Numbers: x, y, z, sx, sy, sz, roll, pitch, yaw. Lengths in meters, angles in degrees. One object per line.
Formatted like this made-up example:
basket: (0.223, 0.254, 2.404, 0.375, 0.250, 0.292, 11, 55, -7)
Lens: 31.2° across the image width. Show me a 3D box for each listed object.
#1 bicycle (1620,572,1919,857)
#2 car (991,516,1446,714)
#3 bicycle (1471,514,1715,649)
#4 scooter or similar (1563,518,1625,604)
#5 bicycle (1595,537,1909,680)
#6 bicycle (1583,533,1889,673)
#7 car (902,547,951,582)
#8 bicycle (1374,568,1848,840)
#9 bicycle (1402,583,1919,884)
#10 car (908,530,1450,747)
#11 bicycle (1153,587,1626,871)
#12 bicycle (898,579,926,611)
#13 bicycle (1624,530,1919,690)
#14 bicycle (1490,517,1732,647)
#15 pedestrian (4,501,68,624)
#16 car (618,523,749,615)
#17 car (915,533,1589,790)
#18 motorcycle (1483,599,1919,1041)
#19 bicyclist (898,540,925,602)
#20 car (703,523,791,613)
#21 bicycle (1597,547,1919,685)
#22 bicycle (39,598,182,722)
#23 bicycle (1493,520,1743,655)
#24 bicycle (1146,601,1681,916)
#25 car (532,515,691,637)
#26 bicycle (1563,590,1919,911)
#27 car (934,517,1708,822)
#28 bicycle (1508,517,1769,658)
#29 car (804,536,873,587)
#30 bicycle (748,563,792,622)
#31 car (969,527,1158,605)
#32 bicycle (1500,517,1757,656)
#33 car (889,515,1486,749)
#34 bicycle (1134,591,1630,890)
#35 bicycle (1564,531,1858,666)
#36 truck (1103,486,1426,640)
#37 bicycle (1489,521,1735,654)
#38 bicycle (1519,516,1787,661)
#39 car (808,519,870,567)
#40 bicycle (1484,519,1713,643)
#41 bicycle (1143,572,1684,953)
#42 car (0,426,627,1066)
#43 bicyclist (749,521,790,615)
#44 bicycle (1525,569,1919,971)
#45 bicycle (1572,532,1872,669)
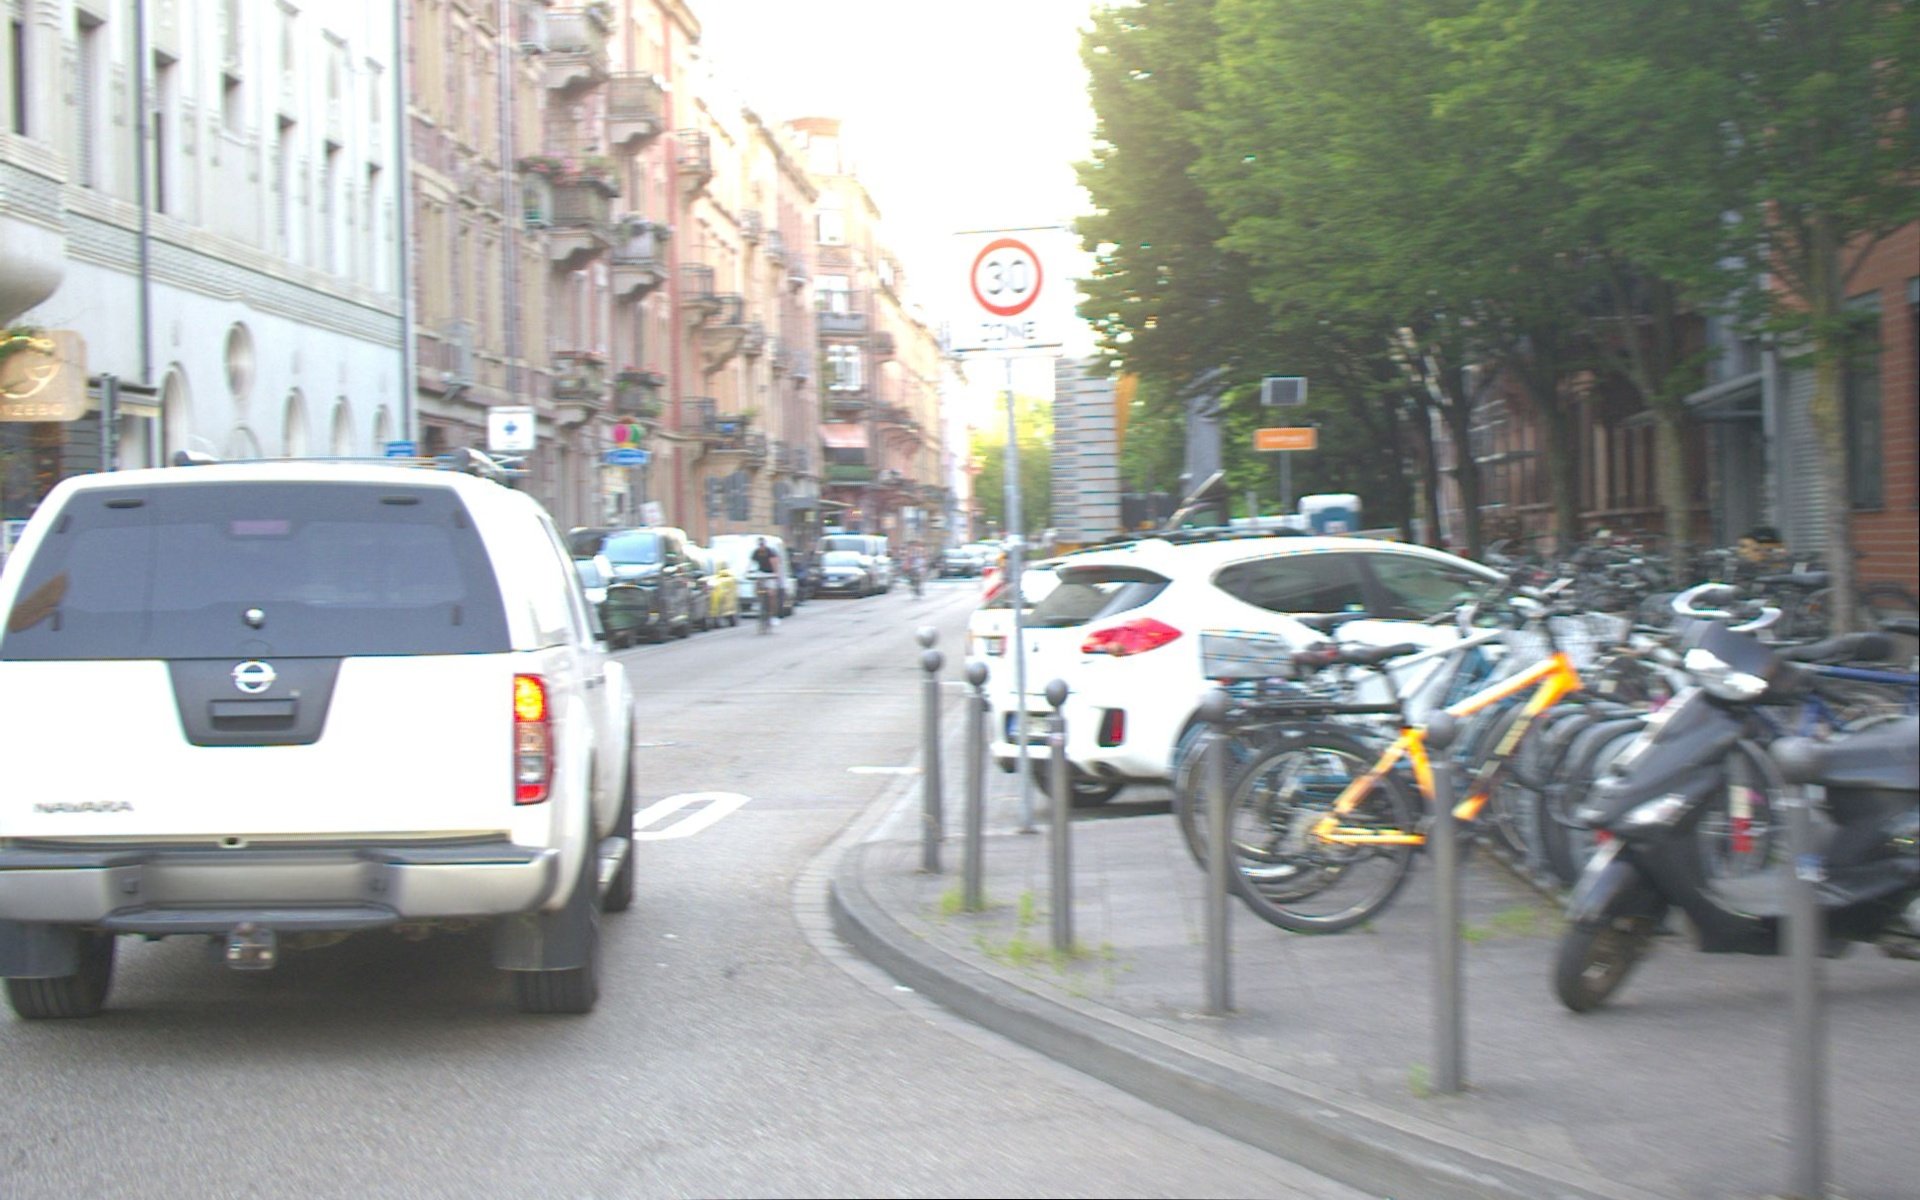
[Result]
bicycle: (3.668, 0.436, 13.877, 1.857, 1.062, 0.524, -3, 1, 1)
car: (2.268, 0.103, 30.023, 3.594, 1.575, 1.716, -2, 1, -31)
bicycle: (7.081, -0.209, 38.535, 2.535, 1.240, 0.599, -6, 0, 5)
scooter or similar: (9.350, -0.587, 50.661, 0.369, 1.214, 1.701, -4, 0, 26)
bicycle: (6.752, 0.067, 29.378, 2.535, 1.162, 0.562, -1, 1, 5)
bicycle: (6.757, 0.019, 30.008, 2.535, 1.162, 0.562, -1, 1, 5)
car: (-1.514, -1.625, 157.177, 1.847, 1.546, 4.355, -1, 1, 5)
bicycle: (2.811, 0.443, 14.943, 1.911, 1.062, 0.524, -3, 1, 1)
bicycle: (2.664, 0.500, 13.129, 1.857, 1.035, 0.402, -3, 1, 1)
car: (1.750, 0.259, 27.148, 3.987, 1.532, 1.636, -2, 2, -28)
bicycle: (1.766, 0.525, 14.261, 1.857, 1.062, 0.446, -3, 1, 1)
bicycle: (-1.435, -0.153, 102.719, 0.800, 0.944, 2.005, 0, 1, 0)
bicycle: (6.581, 0.073, 27.522, 2.347, 1.095, 0.680, -4, 1, 5)
bicycle: (7.134, -0.199, 37.763, 2.535, 1.375, 0.599, -1, 1, 5)
pedestrian: (-10.195, -0.415, 37.937, 0.538, 1.345, 0.518, 0, 1, 3)
car: (-5.137, -0.595, 64.350, 1.993, 1.647, 4.000, -1, 1, 2)
car: (1.926, 0.366, 22.440, 3.987, 1.468, 1.875, -2, 0, -31)
motorcycle: (2.384, 0.580, 9.635, 1.644, 1.098, 0.647, -4, 1, -6)
bicyclist: (-1.448, -0.881, 102.703, 0.800, 1.843, 0.944, 0, 1, 0)
car: (-4.680, -0.730, 75.927, 1.559, 1.914, 3.856, 1, 1, 1)
bicycle: (6.671, 0.127, 28.728, 2.535, 0.956, 0.680, -4, 1, 5)
bicycle: (-7.553, 0.520, 30.633, 0.423, 1.009, 1.717, 0, 2, 16)
bicycle: (6.951, -0.135, 36.392, 2.535, 1.375, 0.599, -1, 1, 5)
bicycle: (1.650, 0.572, 12.643, 1.857, 1.035, 0.472, -3, 1, 1)
car: (-5.670, -0.416, 56.485, 1.905, 1.919, 4.946, 0, 1, 3)
bicycle: (2.951, 0.511, 12.072, 1.539, 1.035, 0.472, -3, 1, 1)
car: (2.046, 0.332, 19.352, 3.986, 1.501, 1.771, -2, 1, -27)
bicycle: (6.881, -0.127, 34.946, 2.535, 1.375, 0.599, -1, 1, 5)
car: (-3.673, -1.183, 104.843, 1.791, 1.525, 4.000, 0, 1, 2)
bicycle: (-3.445, -0.143, 62.328, 0.614, 1.036, 1.904, -1, 1, 2)
car: (2.417, -0.789, 79.827, 4.196, 1.774, 1.819, 0, 1, 8)
bicycle: (6.909, -0.142, 35.602, 2.535, 1.375, 0.599, -1, 1, 5)
car: (1.670, 0.210, 24.975, 3.987, 1.517, 1.710, -2, 0, -28)
bicycle: (1.653, 0.546, 13.596, 1.857, 1.062, 0.446, -3, 1, 1)
bicycle: (6.808, -0.018, 31.228, 2.535, 1.162, 0.562, -1, 1, 5)
truck: (6.042, -0.709, 68.695, 6.321, 2.966, 2.264, 0, -2, 4)
bicycle: (7.018, -0.135, 37.072, 2.535, 1.375, 0.599, -1, 1, 5)
bicycle: (6.883, -0.116, 34.231, 2.535, 1.375, 0.599, -1, 1, 5)
car: (-3.873, -1.836, 110.596, 1.710, 1.525, 4.000, 0, 1, 2)
bicycle: (7.385, -0.226, 39.844, 2.535, 1.375, 0.599, -1, 1, 5)
bicycle: (1.509, 0.535, 11.579, 1.707, 1.172, 0.472, -3, 1, 1)
car: (-2.187, 0.394, 12.057, 1.933, 1.788, 4.622, -1, 0, -5)
bicyclist: (-3.447, -0.584, 62.362, 0.603, 1.679, 1.142, -1, 1, 2)
bicycle: (2.810, 0.502, 10.921, 1.859, 1.142, 0.659, -4, 1, 2)
bicycle: (6.772, -0.001, 30.619, 2.535, 1.162, 0.562, -1, 1, 5)
